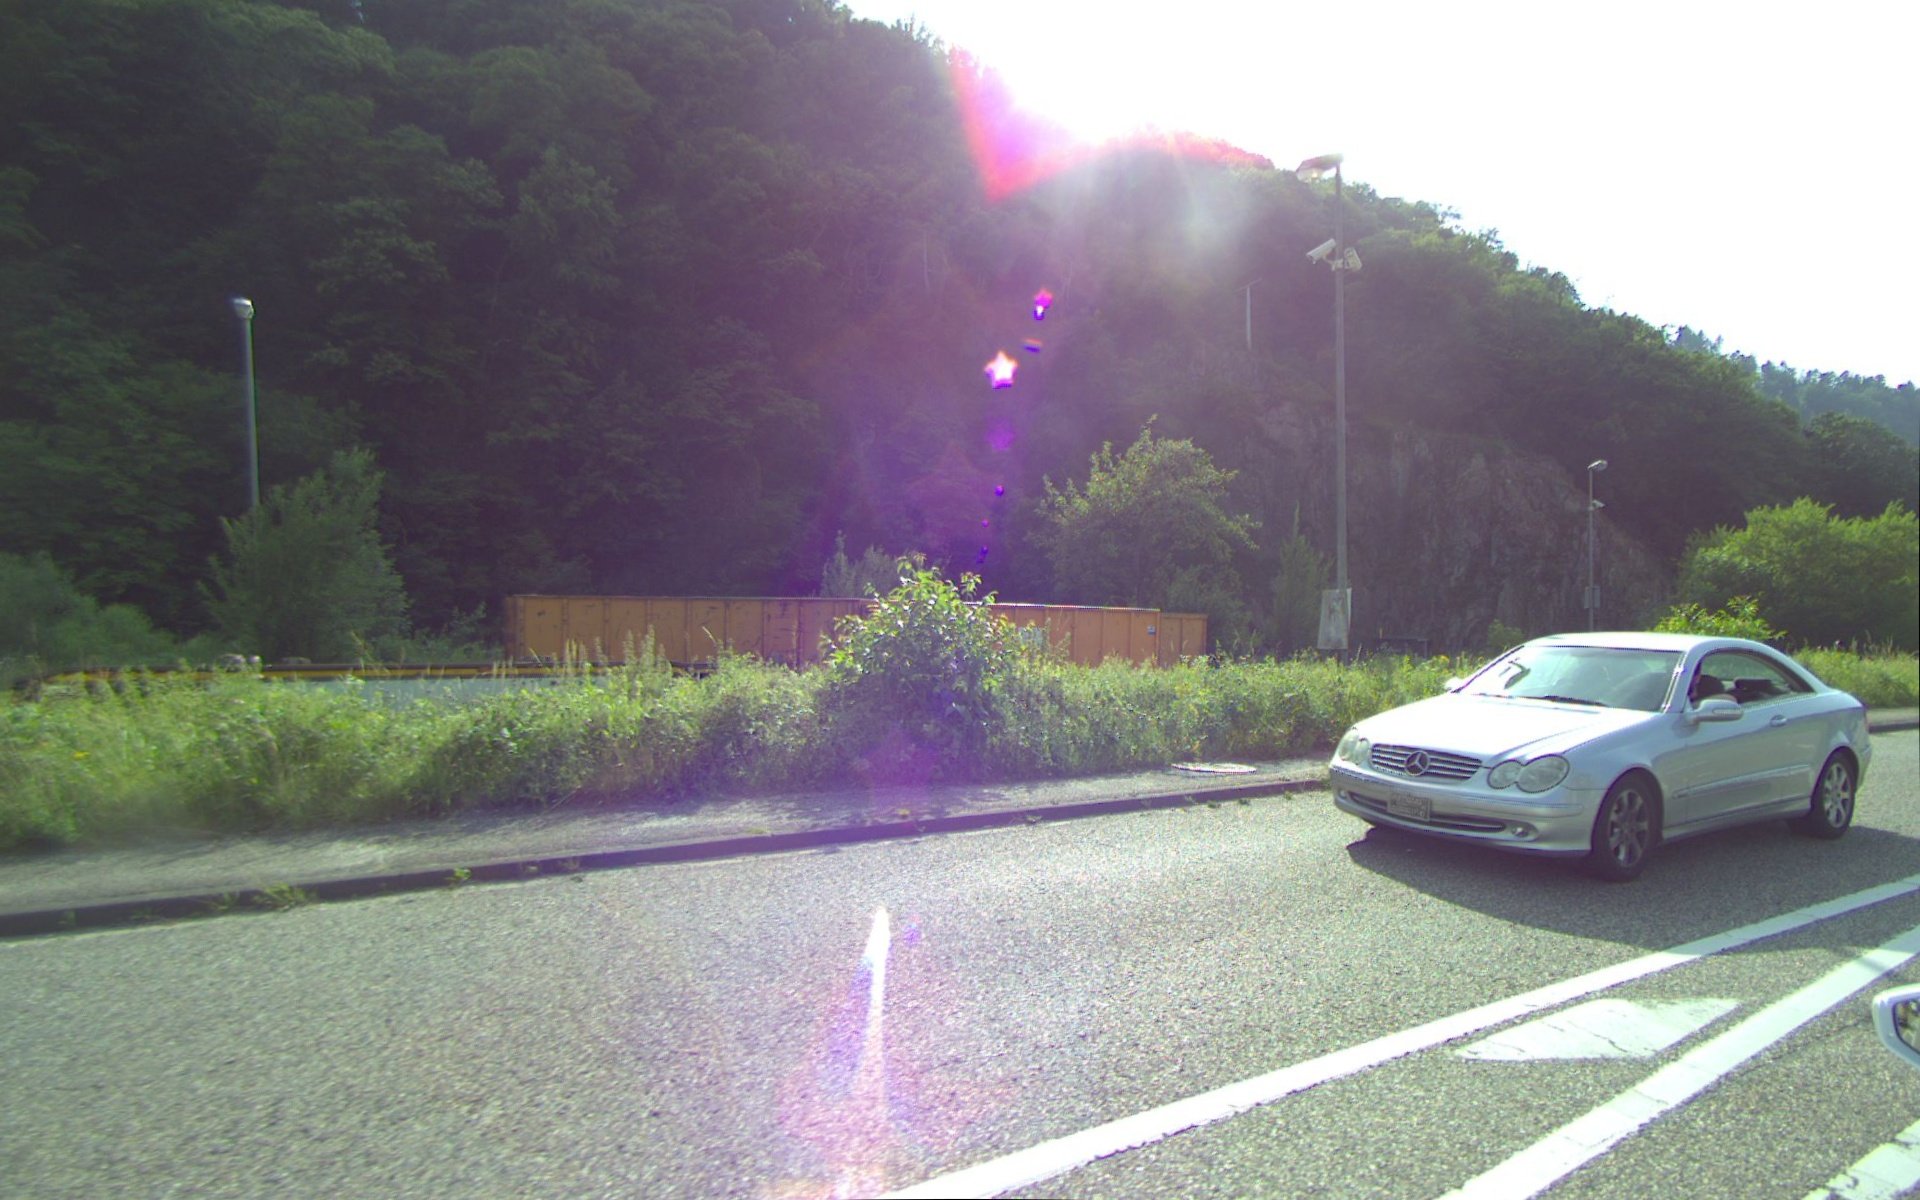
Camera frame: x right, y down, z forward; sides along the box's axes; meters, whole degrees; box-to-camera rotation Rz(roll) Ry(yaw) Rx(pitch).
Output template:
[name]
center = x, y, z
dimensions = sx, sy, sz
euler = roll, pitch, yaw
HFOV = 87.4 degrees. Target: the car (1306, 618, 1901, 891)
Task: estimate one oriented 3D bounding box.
[car]
center = 4.677, 0.857, 7.115
dimensions = 4.459, 1.366, 1.769
euler = 1, 0, -31
